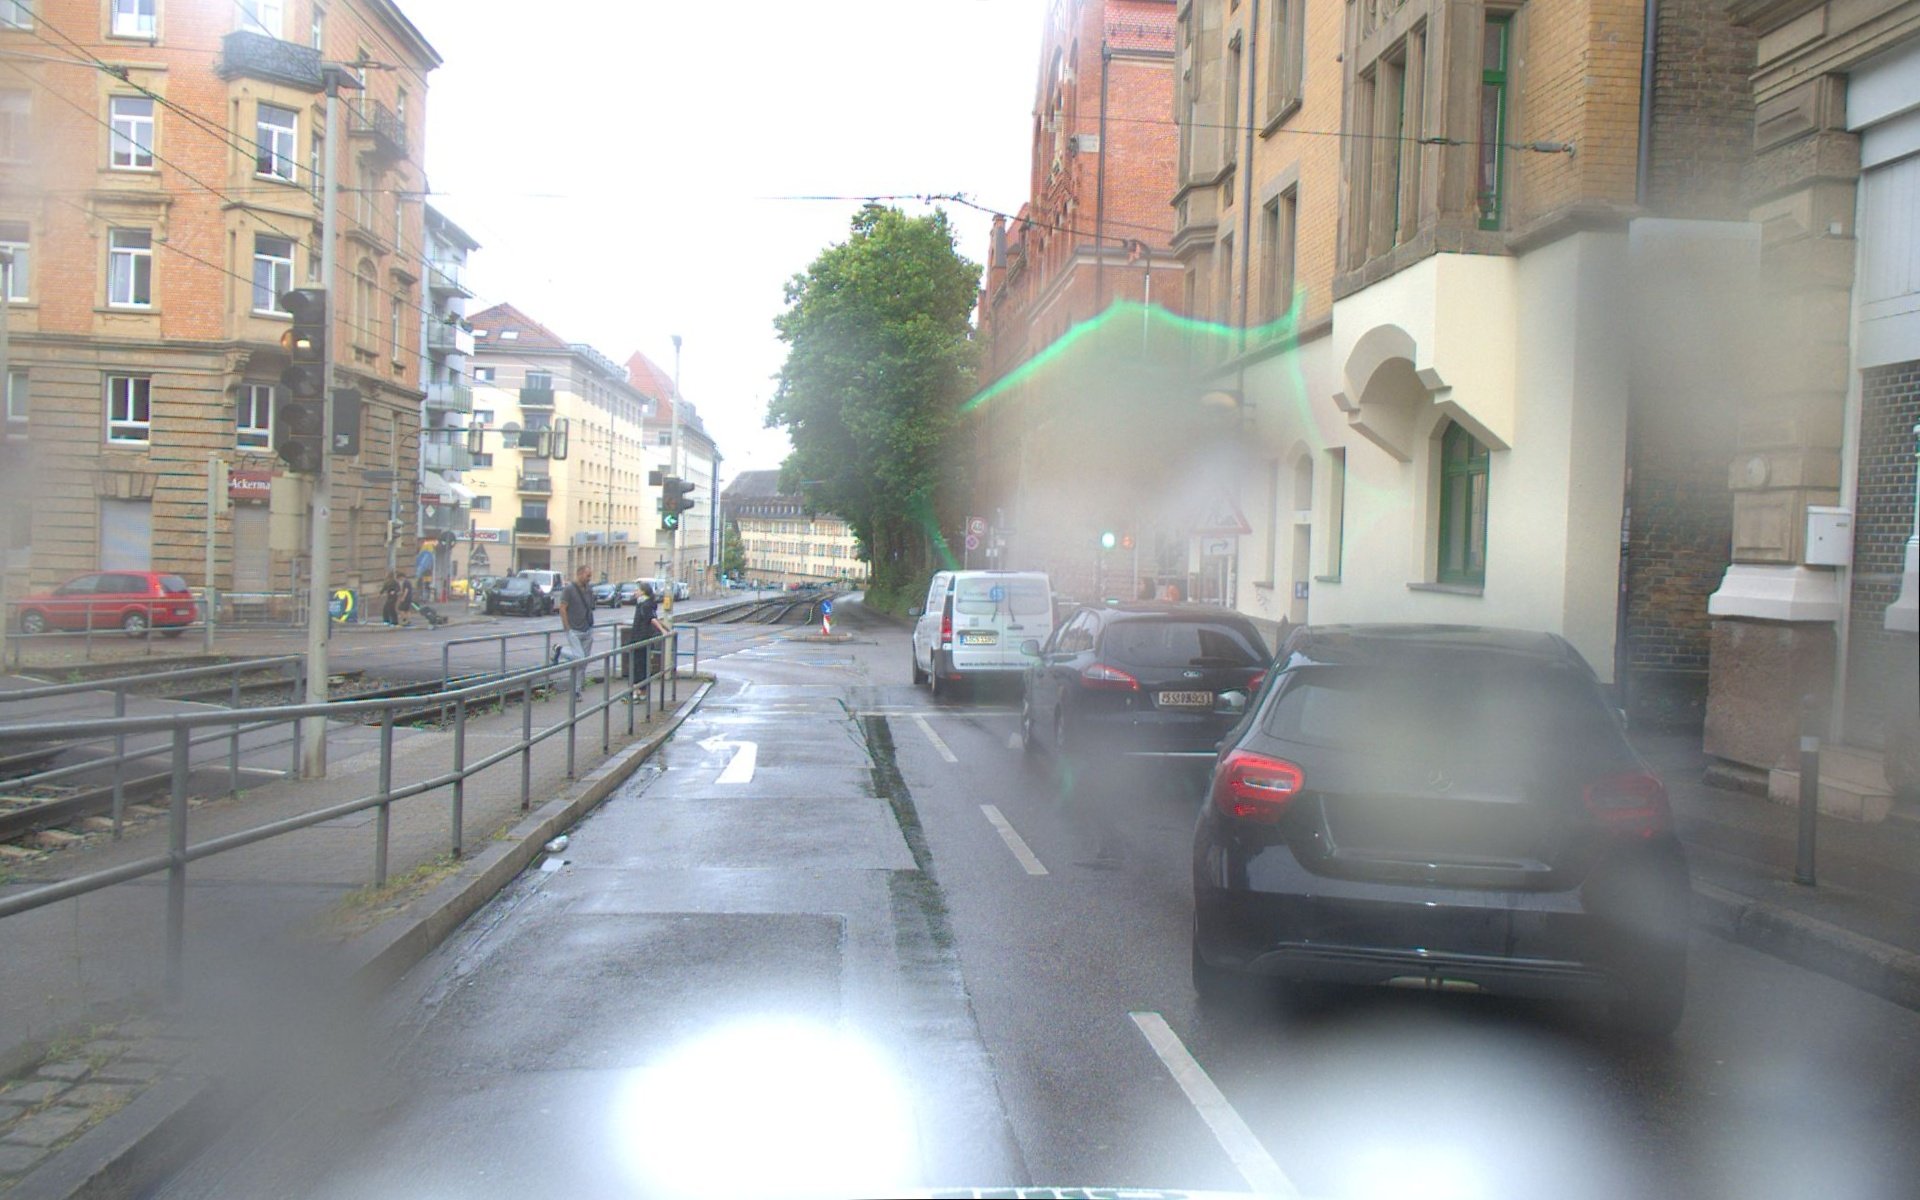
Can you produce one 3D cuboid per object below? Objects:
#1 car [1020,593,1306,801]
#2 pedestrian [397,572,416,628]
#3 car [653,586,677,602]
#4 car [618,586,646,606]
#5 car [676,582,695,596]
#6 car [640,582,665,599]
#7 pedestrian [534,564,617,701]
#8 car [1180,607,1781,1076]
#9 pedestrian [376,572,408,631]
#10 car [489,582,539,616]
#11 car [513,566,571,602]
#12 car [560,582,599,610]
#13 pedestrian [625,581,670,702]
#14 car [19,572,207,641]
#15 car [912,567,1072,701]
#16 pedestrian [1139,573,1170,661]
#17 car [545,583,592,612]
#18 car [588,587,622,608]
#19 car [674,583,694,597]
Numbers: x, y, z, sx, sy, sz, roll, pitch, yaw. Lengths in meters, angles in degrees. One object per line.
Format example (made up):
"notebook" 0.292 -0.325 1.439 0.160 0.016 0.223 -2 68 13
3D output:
"car" 1.585 0.710 14.384 1.679 1.494 4.278 2 0 -4
"pedestrian" -16.825 -0.009 50.301 0.510 1.695 0.474 1 0 -19
"car" -22.480 -0.478 126.155 1.367 1.191 3.159 2 0 -4
"car" -21.446 -0.263 108.184 1.367 1.191 3.159 2 0 -4
"car" -24.508 -0.938 147.723 1.367 1.191 3.159 2 0 -4
"car" -22.235 -0.690 119.581 1.367 1.191 3.159 2 0 -4
"pedestrian" -5.040 0.418 21.688 0.728 1.754 0.736 2 0 43
"car" 2.190 0.767 7.363 1.854 1.414 4.003 1 0 15
"pedestrian" -16.524 0.032 48.133 0.664 1.690 0.676 1 0 2
"car" -18.711 -0.051 69.487 1.424 1.341 3.292 3 0 -5
"car" -19.136 -0.729 75.855 1.751 1.557 4.459 2 0 -4
"car" -19.923 -0.223 86.632 1.470 1.379 3.159 2 0 -4
"pedestrian" -4.093 0.535 21.655 0.522 1.557 0.435 2 0 -12
"car" -19.863 0.151 38.858 3.526 1.515 1.686 1 0 2
"car" 0.402 0.466 25.718 1.896 1.863 4.275 2 0 -6
"pedestrian" 2.912 0.256 24.758 0.404 1.293 0.292 2 0 2
"car" -19.449 -0.134 82.277 1.647 1.379 3.700 2 0 -4
"car" -20.421 -0.132 95.109 1.408 1.126 3.159 2 0 -4
"car" -23.894 -0.853 143.269 1.367 1.191 3.159 2 0 -4
